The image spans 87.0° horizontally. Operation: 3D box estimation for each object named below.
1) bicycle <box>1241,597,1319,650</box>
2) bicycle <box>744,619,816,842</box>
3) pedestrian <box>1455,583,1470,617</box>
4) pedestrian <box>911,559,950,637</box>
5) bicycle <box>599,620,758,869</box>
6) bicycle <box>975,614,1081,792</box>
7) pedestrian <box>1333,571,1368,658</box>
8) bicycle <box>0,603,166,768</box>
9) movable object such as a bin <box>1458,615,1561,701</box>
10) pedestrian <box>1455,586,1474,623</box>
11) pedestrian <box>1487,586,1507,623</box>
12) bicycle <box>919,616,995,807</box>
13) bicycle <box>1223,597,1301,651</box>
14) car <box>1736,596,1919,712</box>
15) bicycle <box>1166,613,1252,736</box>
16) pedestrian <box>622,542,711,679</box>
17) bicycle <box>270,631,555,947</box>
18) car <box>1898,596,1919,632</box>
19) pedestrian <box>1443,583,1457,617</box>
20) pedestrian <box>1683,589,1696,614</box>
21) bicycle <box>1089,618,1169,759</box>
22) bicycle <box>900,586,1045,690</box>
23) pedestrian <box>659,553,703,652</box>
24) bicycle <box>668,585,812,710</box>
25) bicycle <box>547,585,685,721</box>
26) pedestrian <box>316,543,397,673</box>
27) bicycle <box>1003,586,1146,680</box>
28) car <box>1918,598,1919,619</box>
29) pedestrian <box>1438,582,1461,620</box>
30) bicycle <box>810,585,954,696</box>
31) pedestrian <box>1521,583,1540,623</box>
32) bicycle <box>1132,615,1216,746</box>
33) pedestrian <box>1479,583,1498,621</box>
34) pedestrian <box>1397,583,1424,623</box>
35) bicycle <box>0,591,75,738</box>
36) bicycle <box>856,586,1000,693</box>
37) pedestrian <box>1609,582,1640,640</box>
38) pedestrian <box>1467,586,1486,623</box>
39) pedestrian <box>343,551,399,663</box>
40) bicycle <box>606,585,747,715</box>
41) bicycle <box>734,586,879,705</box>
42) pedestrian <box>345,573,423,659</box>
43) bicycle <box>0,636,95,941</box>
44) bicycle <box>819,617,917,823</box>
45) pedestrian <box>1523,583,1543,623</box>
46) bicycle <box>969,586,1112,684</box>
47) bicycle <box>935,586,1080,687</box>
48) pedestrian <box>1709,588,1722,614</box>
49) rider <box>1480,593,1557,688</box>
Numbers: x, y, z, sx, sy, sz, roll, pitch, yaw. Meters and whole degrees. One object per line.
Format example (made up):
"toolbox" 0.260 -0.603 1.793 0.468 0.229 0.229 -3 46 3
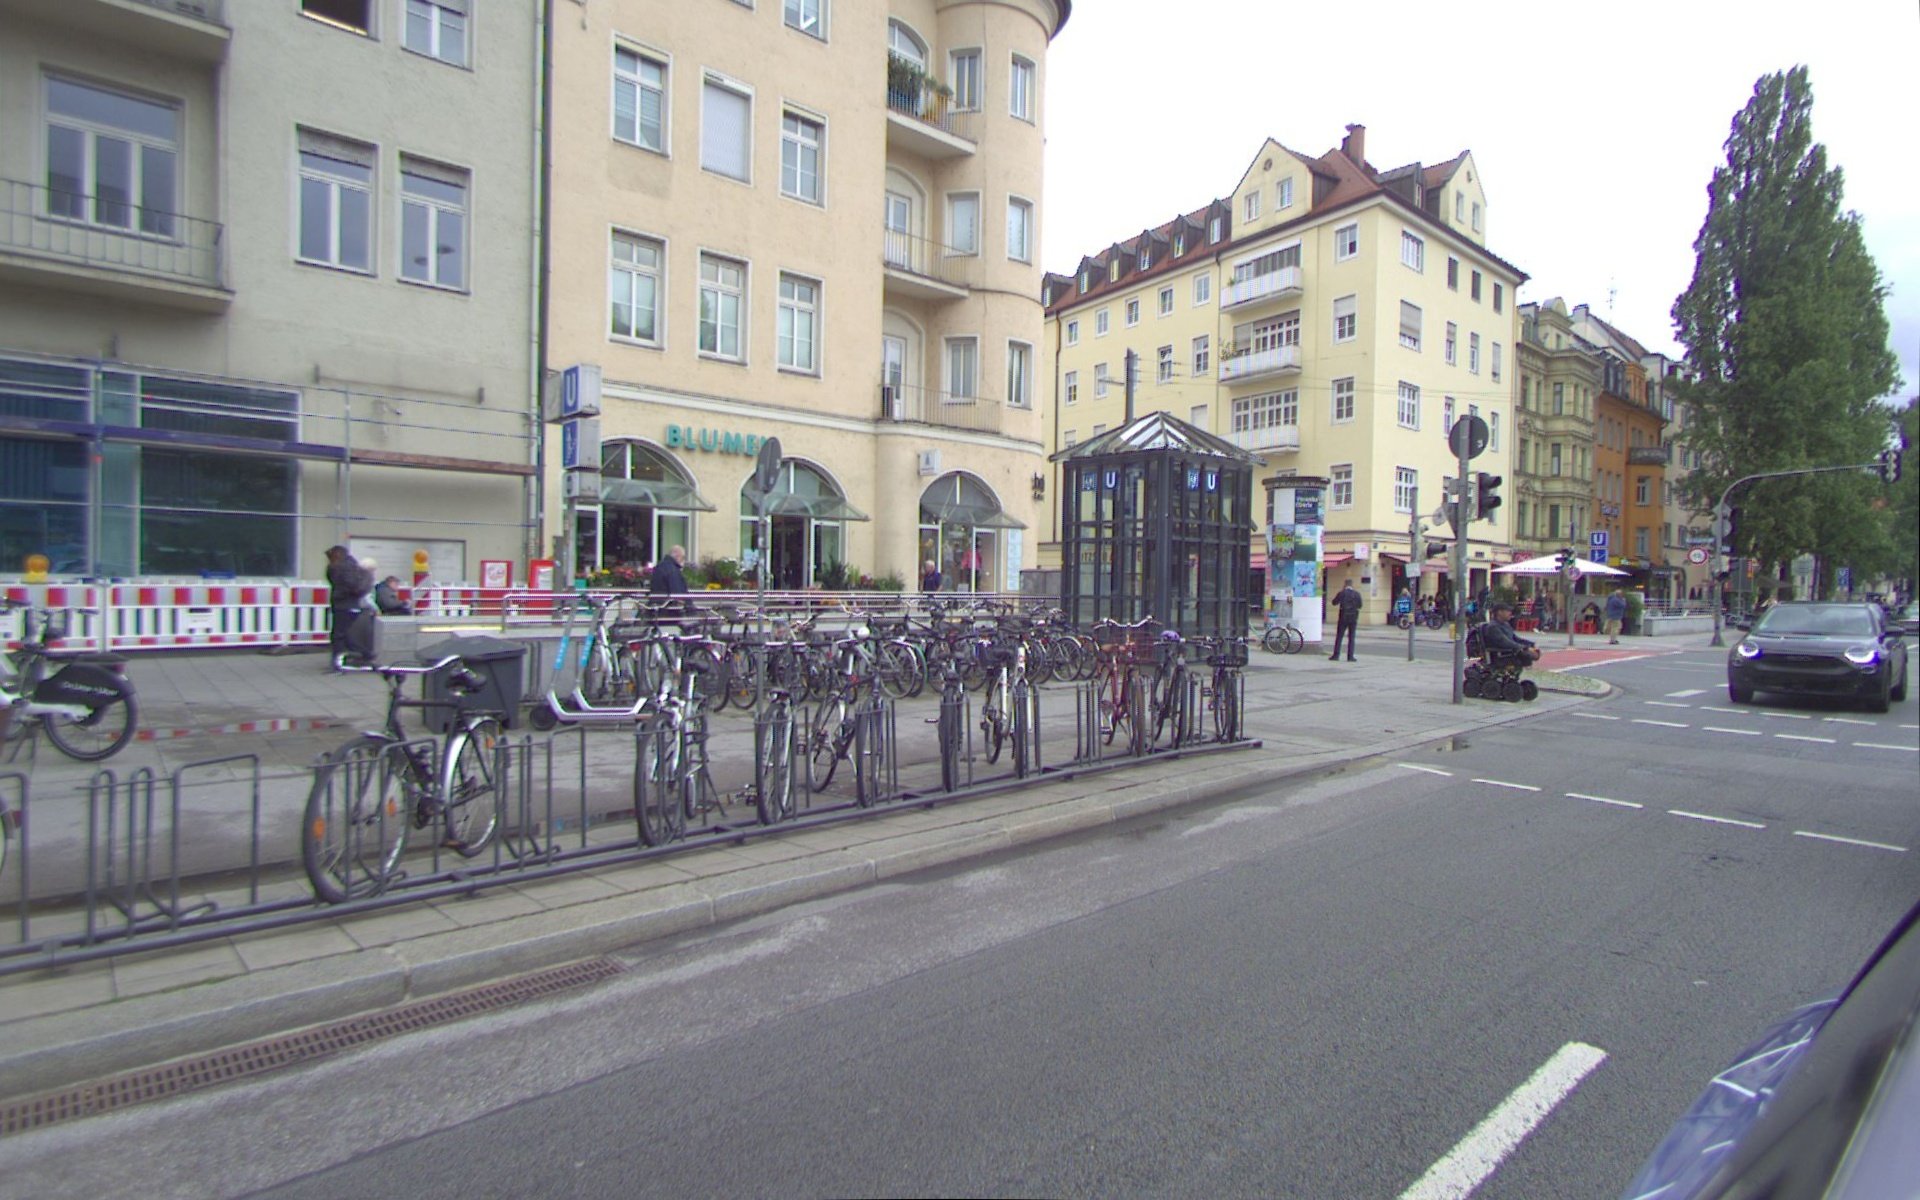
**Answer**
"bicycle" 7.528 0.533 23.876 0.597 1.142 1.828 2 1 -29
"bicycle" -1.070 0.710 6.177 0.341 1.151 1.527 0 0 -7
"pedestrian" 23.141 -0.011 46.604 0.524 1.545 0.579 2 1 29
"pedestrian" -0.683 -0.062 23.152 0.634 1.760 0.617 -1 2 -43
"bicycle" -1.545 0.717 5.817 0.578 1.151 1.798 0 0 -6
"bicycle" 0.472 0.700 7.691 0.468 1.151 1.788 0 0 -7
"pedestrian" 8.251 0.302 21.373 0.634 1.799 0.605 1 0 25
"bicycle" -6.664 0.582 7.172 1.728 1.091 0.410 2 2 -1
"movable object such as a bin" 7.823 0.797 14.428 0.735 1.075 1.088 -1 4 -44
"pedestrian" 21.704 0.182 43.551 0.575 1.545 0.528 1 1 -41
"pedestrian" 23.078 0.202 43.495 0.656 1.557 0.552 1 1 -41
"bicycle" -0.052 0.707 7.156 0.469 1.151 1.679 0 0 -2
"bicycle" 6.995 0.539 23.519 0.597 1.142 1.828 2 1 -29
"car" 13.129 0.701 15.138 3.981 1.489 1.738 0 1 -42
"bicycle" 2.370 0.693 9.812 0.390 1.073 1.851 0 -3 1
"pedestrian" -3.814 0.115 13.160 0.804 1.713 0.747 2 1 35
"bicycle" -2.478 0.756 4.818 0.480 1.151 1.797 0 0 -3
"car" 46.916 0.659 48.962 3.931 1.645 1.852 -1 1 -41
"pedestrian" 22.743 -0.012 46.940 0.524 1.545 0.579 2 1 29
"pedestrian" 49.623 0.084 68.804 0.575 1.705 0.552 1 1 -41
"bicycle" 1.414 0.714 8.679 0.390 1.073 1.851 0 -3 1
"bicycle" 0.111 0.458 13.662 0.617 1.242 2.318 1 1 -38
"pedestrian" -4.977 0.029 18.058 0.580 1.722 0.565 -1 2 -43
"bicycle" -2.545 0.475 11.476 0.617 1.242 2.318 1 1 -38
"bicycle" -3.690 0.488 10.706 0.617 1.242 2.368 1 1 -38
"pedestrian" -7.895 0.094 13.241 0.819 1.652 0.564 1 1 -38
"bicycle" 1.636 0.438 14.925 0.617 1.242 2.318 1 1 -38
"car" 78.341 0.736 81.049 3.931 1.660 1.997 0 2 -42
"pedestrian" 21.936 0.026 45.354 0.672 1.688 0.622 1 1 5
"bicycle" -1.041 0.454 12.839 0.617 1.242 2.330 1 1 -38
"pedestrian" 24.880 0.112 44.134 0.575 1.705 0.552 1 1 -41
"bicycle" 1.915 0.700 9.256 0.390 1.073 1.851 0 -3 1
"pedestrian" 24.003 0.095 45.979 0.575 1.705 0.552 1 1 -41
"pedestrian" 18.161 0.120 40.783 0.818 1.587 0.714 0 0 -41
"bicycle" -7.937 0.500 8.702 0.403 1.091 1.651 0 2 -38
"bicycle" -0.473 0.464 13.318 0.617 1.242 2.318 1 1 -38
"pedestrian" 21.634 0.337 32.957 0.729 1.823 0.701 2 3 40
"pedestrian" 22.044 0.184 43.177 0.575 1.545 0.528 1 1 -41
"pedestrian" -8.445 0.077 14.507 0.580 1.560 0.565 -1 2 -43
"bicycle" -3.162 0.481 11.115 0.617 1.242 2.343 1 1 -38
"bicycle" -1.890 0.484 12.124 0.617 1.242 2.343 1 1 -38
"pedestrian" -8.804 0.218 15.479 0.904 1.261 0.700 -1 2 -43
"bicycle" -3.949 0.738 3.407 0.480 1.151 1.794 0 0 2
"bicycle" -0.653 0.714 6.745 0.468 1.151 1.681 0 0 -11
"pedestrian" 24.552 0.121 43.335 0.575 1.705 0.552 1 1 -41
"bicycle" 1.099 0.445 14.468 0.617 1.242 2.318 1 1 -38
"bicycle" 0.612 0.452 14.035 0.617 1.242 2.318 1 1 -38
"pedestrian" 50.715 0.087 67.890 0.575 1.705 0.552 1 1 -41
"rider" 7.895 0.546 14.307 0.721 1.256 0.731 -1 4 -44
